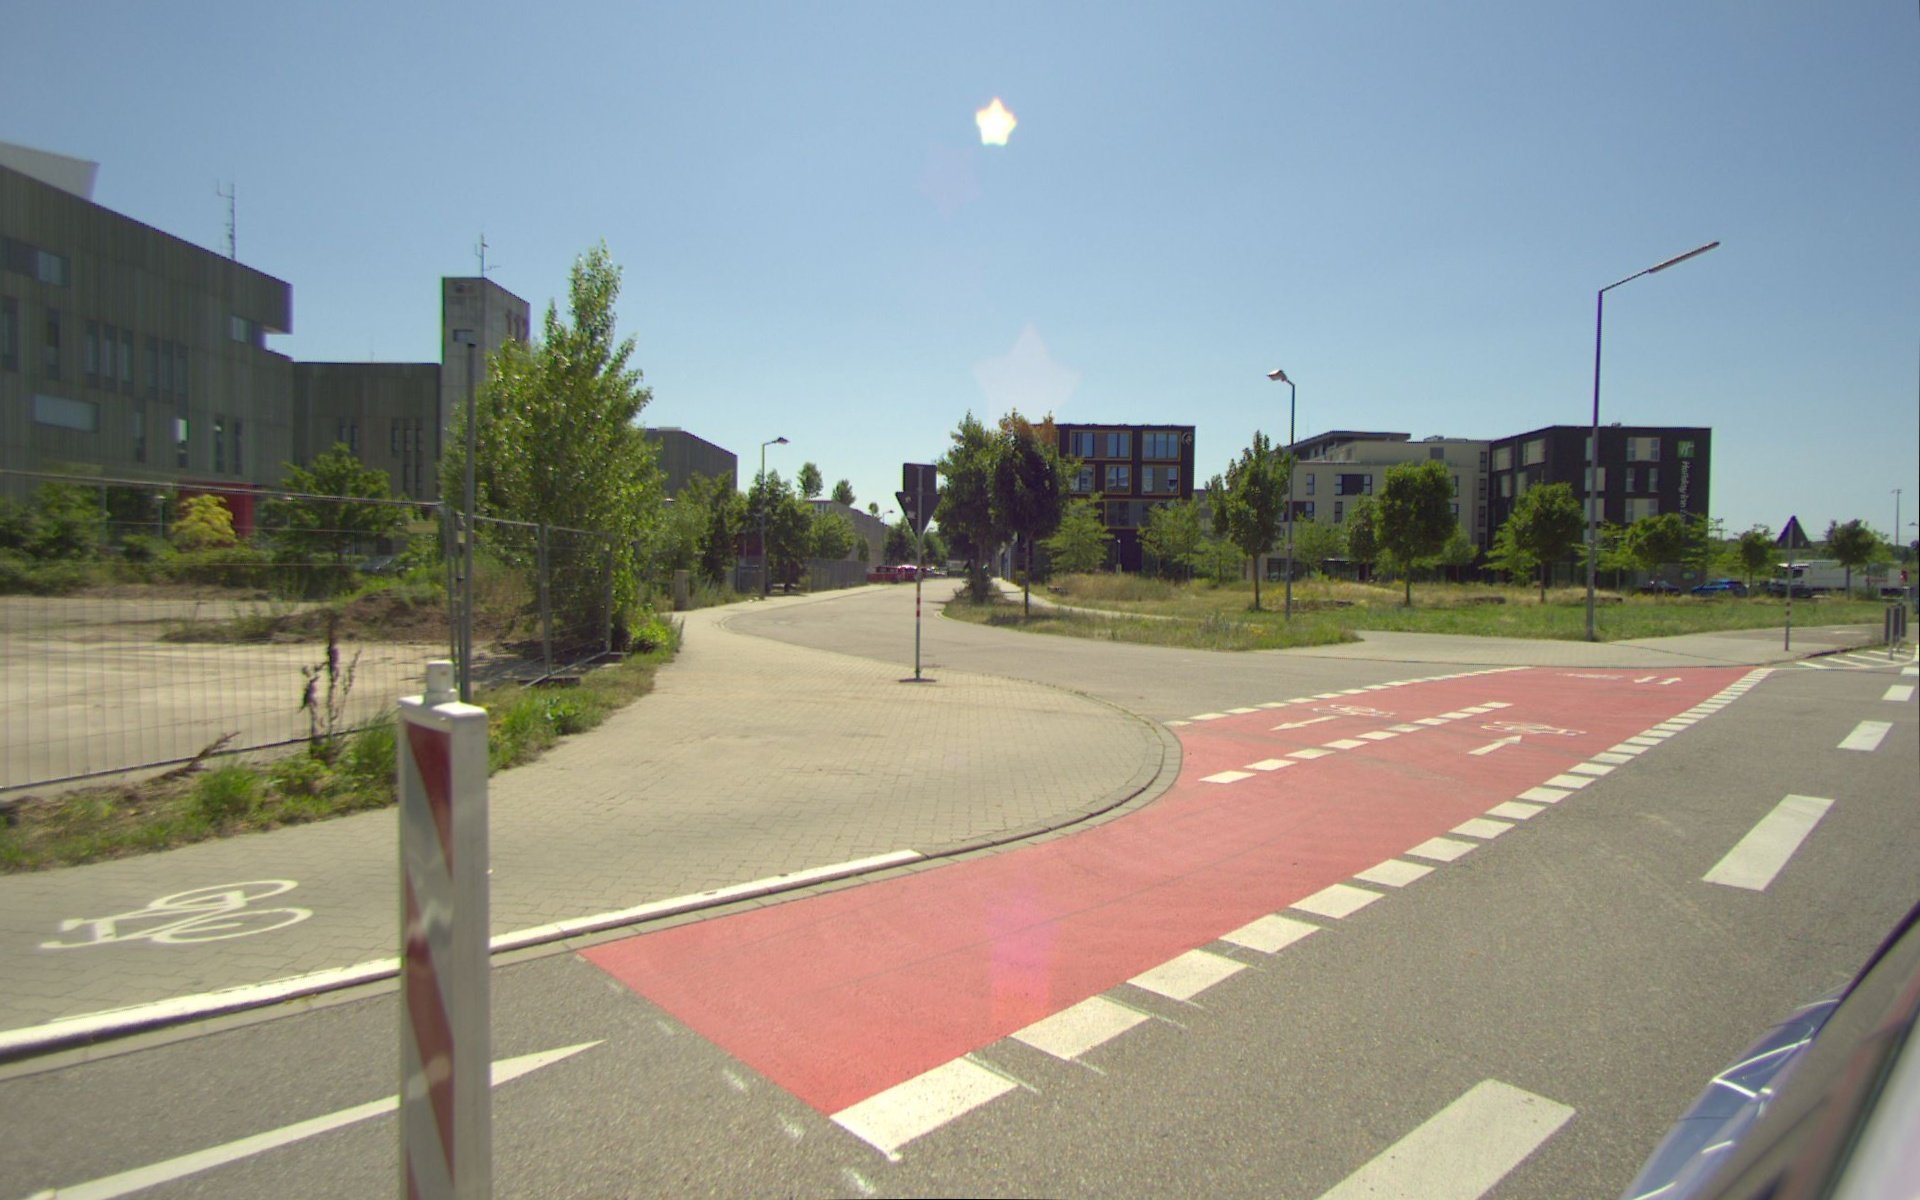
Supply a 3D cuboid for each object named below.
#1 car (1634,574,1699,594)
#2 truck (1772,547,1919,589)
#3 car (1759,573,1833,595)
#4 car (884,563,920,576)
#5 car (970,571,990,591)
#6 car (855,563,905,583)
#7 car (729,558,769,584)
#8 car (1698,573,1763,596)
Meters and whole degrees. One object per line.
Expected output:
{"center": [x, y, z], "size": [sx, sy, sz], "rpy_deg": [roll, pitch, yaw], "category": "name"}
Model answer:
{"center": [55.674, -1.261, 79.839], "size": [1.923, 1.462, 4.132], "rpy_deg": [1, 2, -4], "category": "car"}
{"center": [79.346, -2.853, 89.591], "size": [11.919, 3.503, 3.018], "rpy_deg": [1, 3, 4], "category": "truck"}
{"center": [65.113, -1.266, 78.935], "size": [1.993, 1.581, 4.509], "rpy_deg": [1, 2, 0], "category": "car"}
{"center": [-7.211, -3.753, 125.914], "size": [4.438, 1.529, 1.804], "rpy_deg": [1, 2, -1], "category": "car"}
{"center": [2.002, -1.908, 102.663], "size": [1.924, 1.953, 3.490], "rpy_deg": [0, 0, 3], "category": "car"}
{"center": [-8.462, -2.898, 107.860], "size": [5.066, 2.141, 2.236], "rpy_deg": [0, 1, 3], "category": "car"}
{"center": [-13.055, -1.818, 62.736], "size": [1.624, 1.509, 4.001], "rpy_deg": [1, 2, 0], "category": "car"}
{"center": [60.567, -1.260, 79.633], "size": [1.918, 1.672, 4.072], "rpy_deg": [1, 2, 1], "category": "car"}
